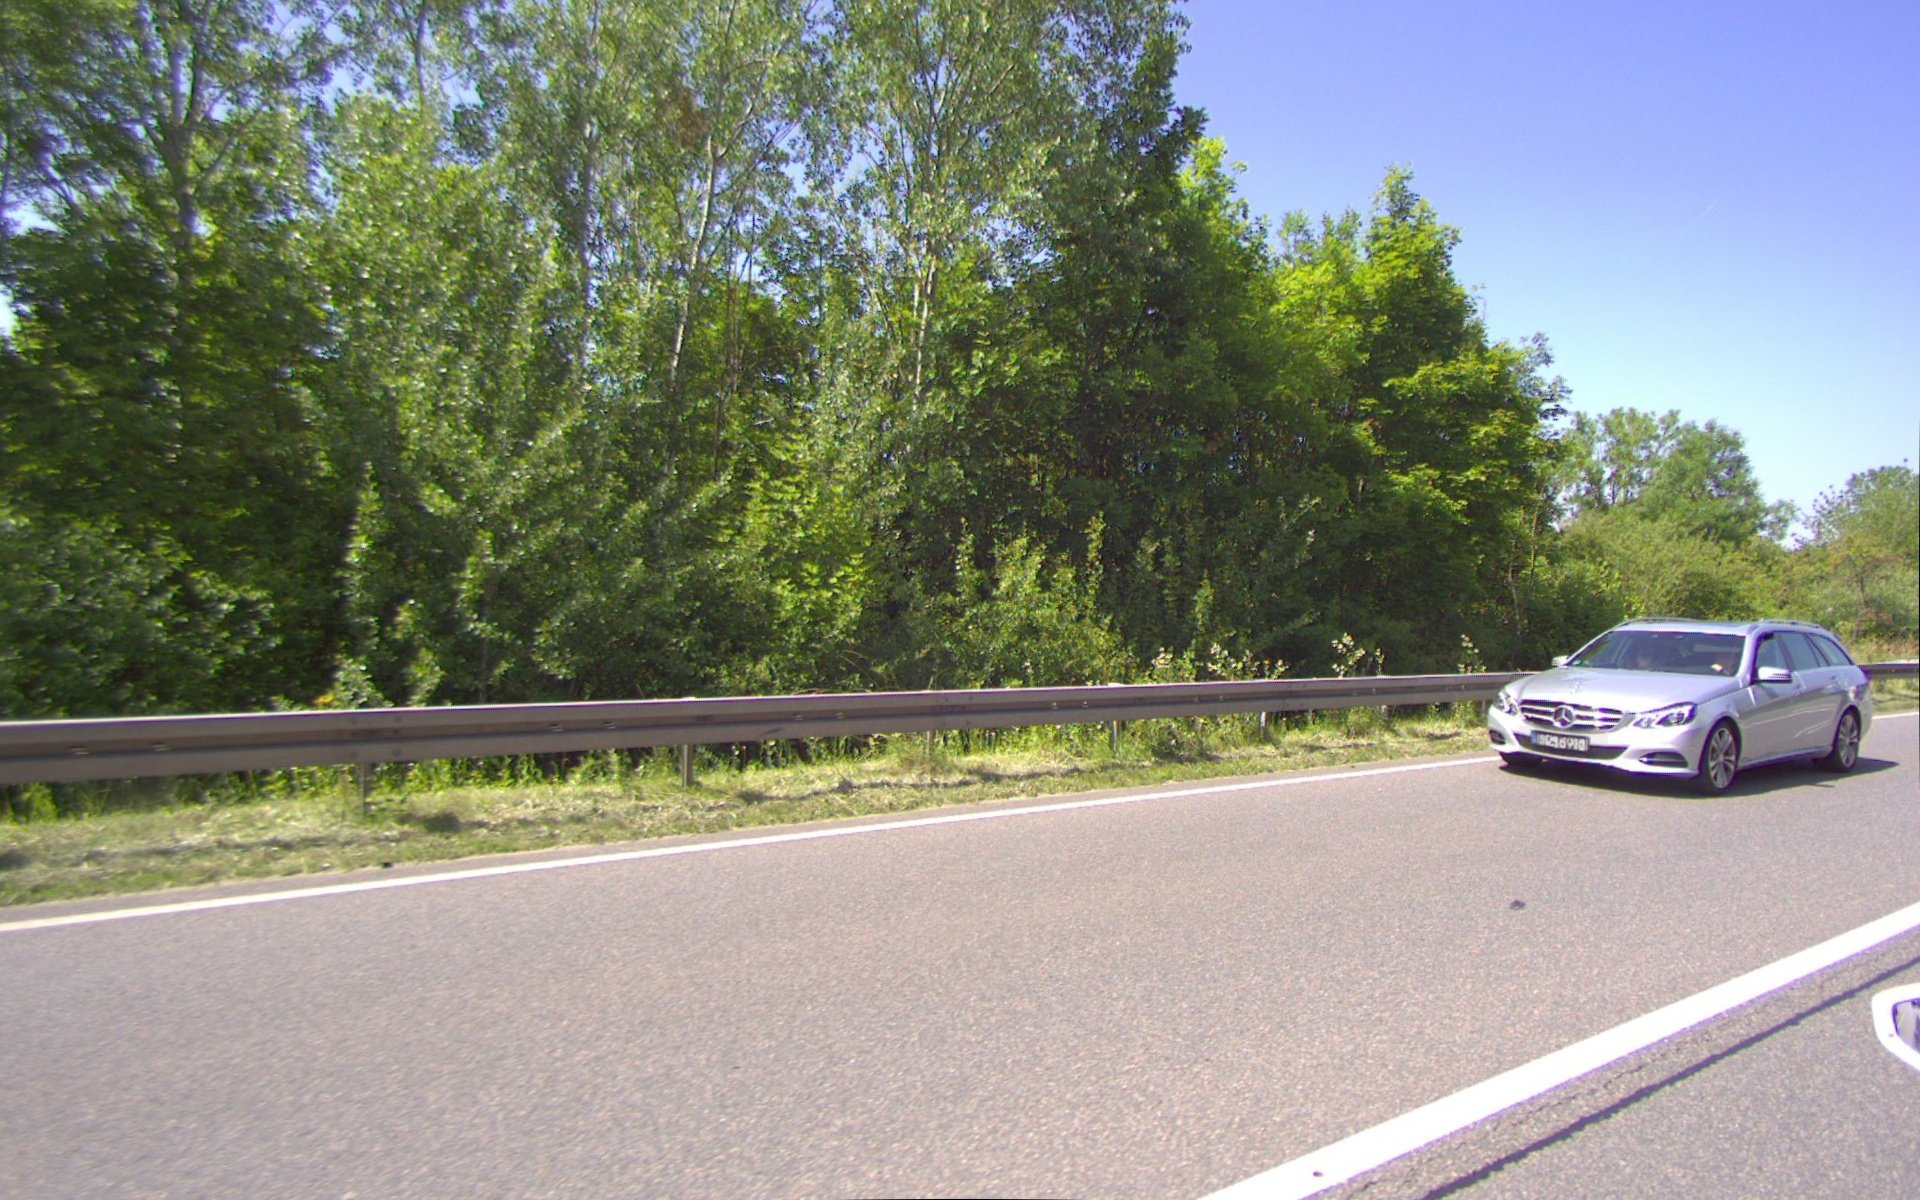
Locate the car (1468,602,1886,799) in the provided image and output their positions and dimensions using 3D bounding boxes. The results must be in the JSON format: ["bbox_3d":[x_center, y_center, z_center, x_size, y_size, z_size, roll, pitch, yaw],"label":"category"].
[{"bbox_3d":[7.230,0.863,10.015,4.476,1.566,1.808,2,0,-32],"label":"car"}]
